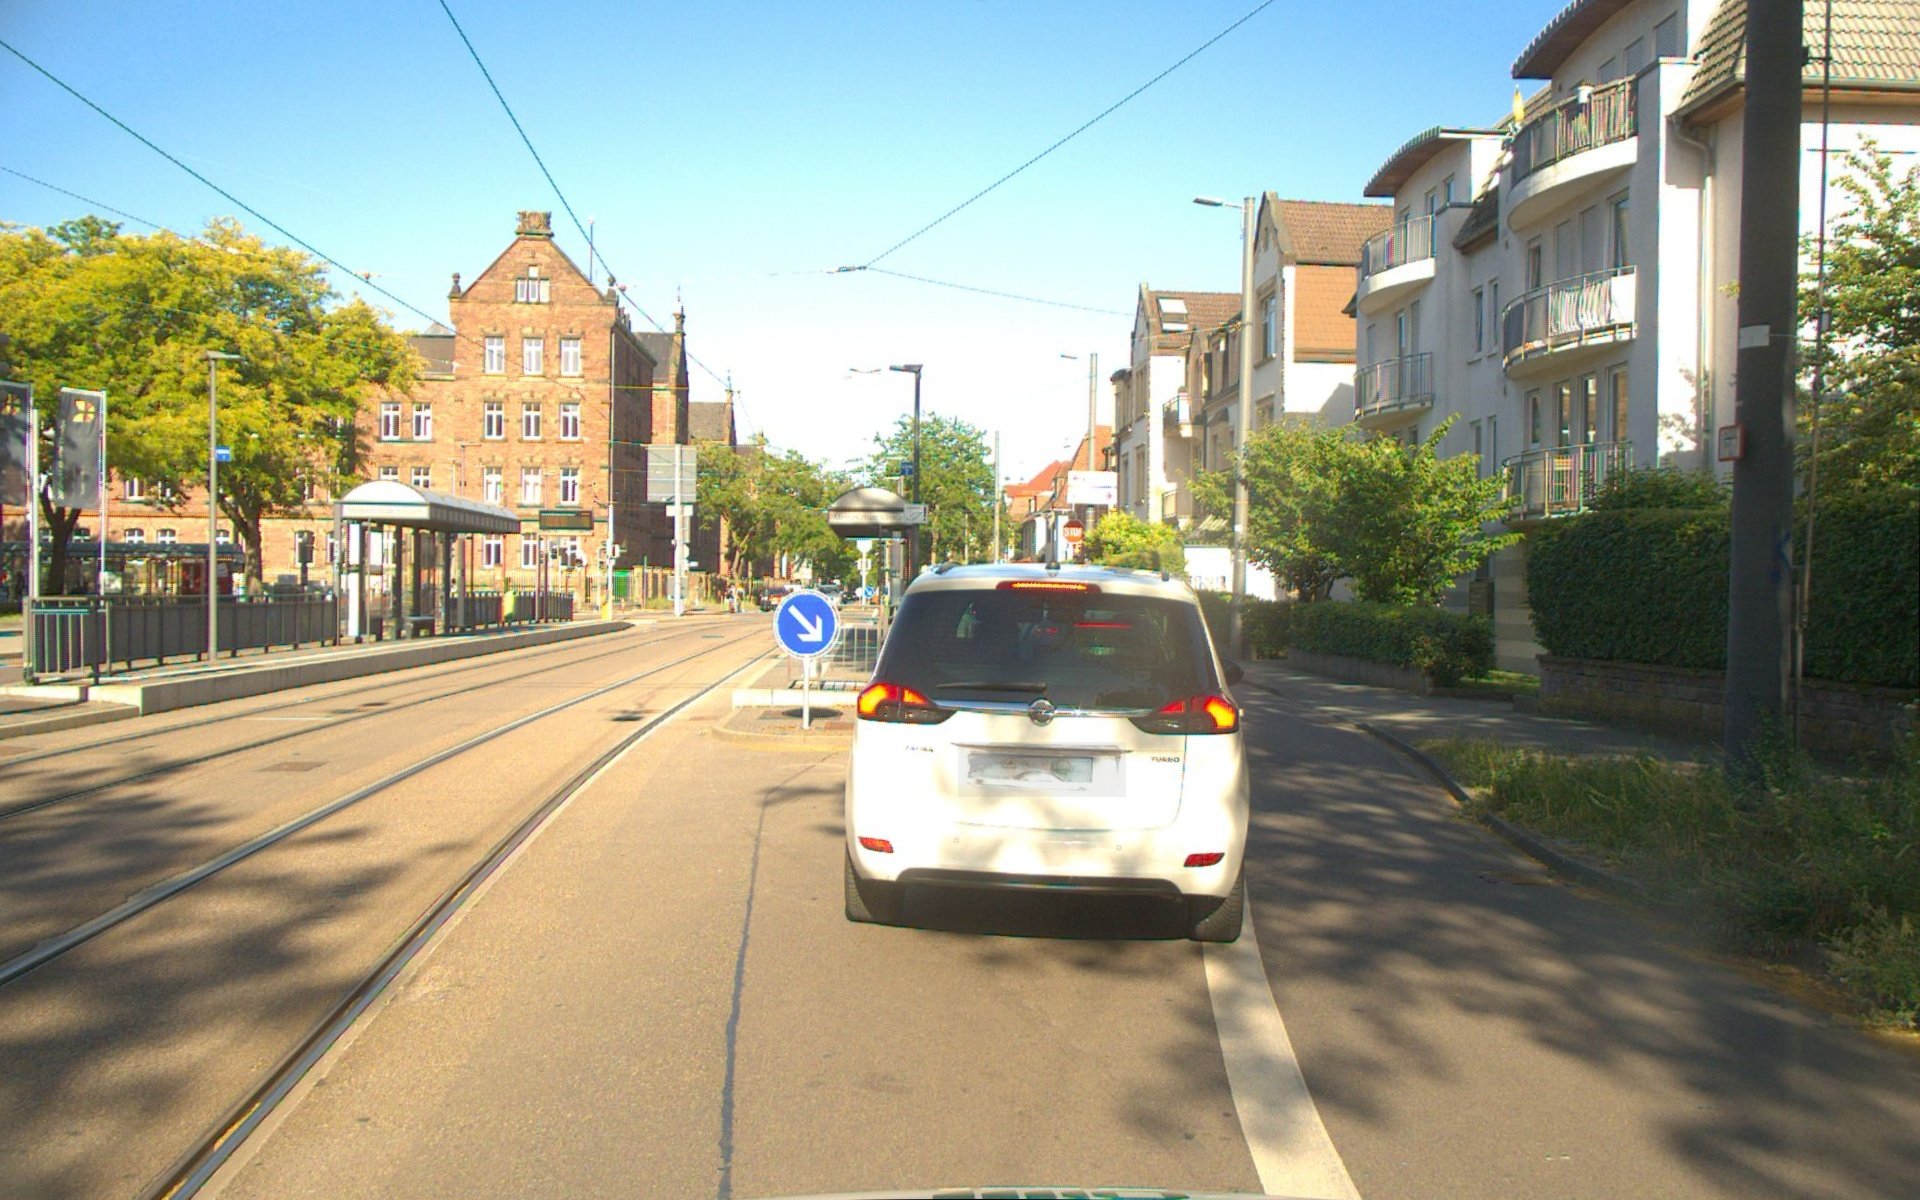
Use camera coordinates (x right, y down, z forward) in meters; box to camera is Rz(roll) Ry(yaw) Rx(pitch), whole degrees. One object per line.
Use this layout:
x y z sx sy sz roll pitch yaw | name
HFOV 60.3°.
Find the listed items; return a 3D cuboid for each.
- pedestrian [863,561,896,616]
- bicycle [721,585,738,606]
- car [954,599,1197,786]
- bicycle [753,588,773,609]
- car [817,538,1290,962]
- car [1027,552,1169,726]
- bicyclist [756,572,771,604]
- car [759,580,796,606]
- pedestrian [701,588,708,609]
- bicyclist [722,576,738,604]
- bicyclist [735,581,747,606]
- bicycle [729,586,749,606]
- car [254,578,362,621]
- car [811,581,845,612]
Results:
-3.021 -0.440 62.208 1.133 2.048 1.118 1 1 -7 | pedestrian
-14.411 -0.280 103.409 0.805 1.319 2.675 0 0 -4 | bicycle
1.163 0.739 15.281 1.951 1.468 4.003 0 0 7 | car
-12.650 -0.122 106.306 1.125 1.319 2.858 0 0 -4 | bicycle
0.557 0.637 8.613 1.852 1.639 4.231 0 -2 5 | car
1.859 0.447 21.428 1.672 2.049 3.909 0 0 7 | car
-12.615 -0.752 106.302 0.932 2.049 0.822 0 0 -6 | bicyclist
-12.610 -0.485 114.546 1.952 1.752 4.001 0 0 2 | car
-18.160 -0.129 117.590 0.354 1.463 0.549 0 0 -1 | pedestrian
-14.411 -0.613 103.697 0.924 1.765 0.860 0 0 -3 | bicyclist
-14.535 -0.455 109.855 0.688 1.635 0.657 0 0 -3 | bicyclist
-14.707 -0.276 109.942 1.125 1.319 2.858 0 0 -4 | bicycle
-27.933 -0.037 70.970 3.911 1.821 1.997 0 0 -7 | car
-8.599 -0.224 108.099 1.953 1.947 3.999 0 0 -2 | car
